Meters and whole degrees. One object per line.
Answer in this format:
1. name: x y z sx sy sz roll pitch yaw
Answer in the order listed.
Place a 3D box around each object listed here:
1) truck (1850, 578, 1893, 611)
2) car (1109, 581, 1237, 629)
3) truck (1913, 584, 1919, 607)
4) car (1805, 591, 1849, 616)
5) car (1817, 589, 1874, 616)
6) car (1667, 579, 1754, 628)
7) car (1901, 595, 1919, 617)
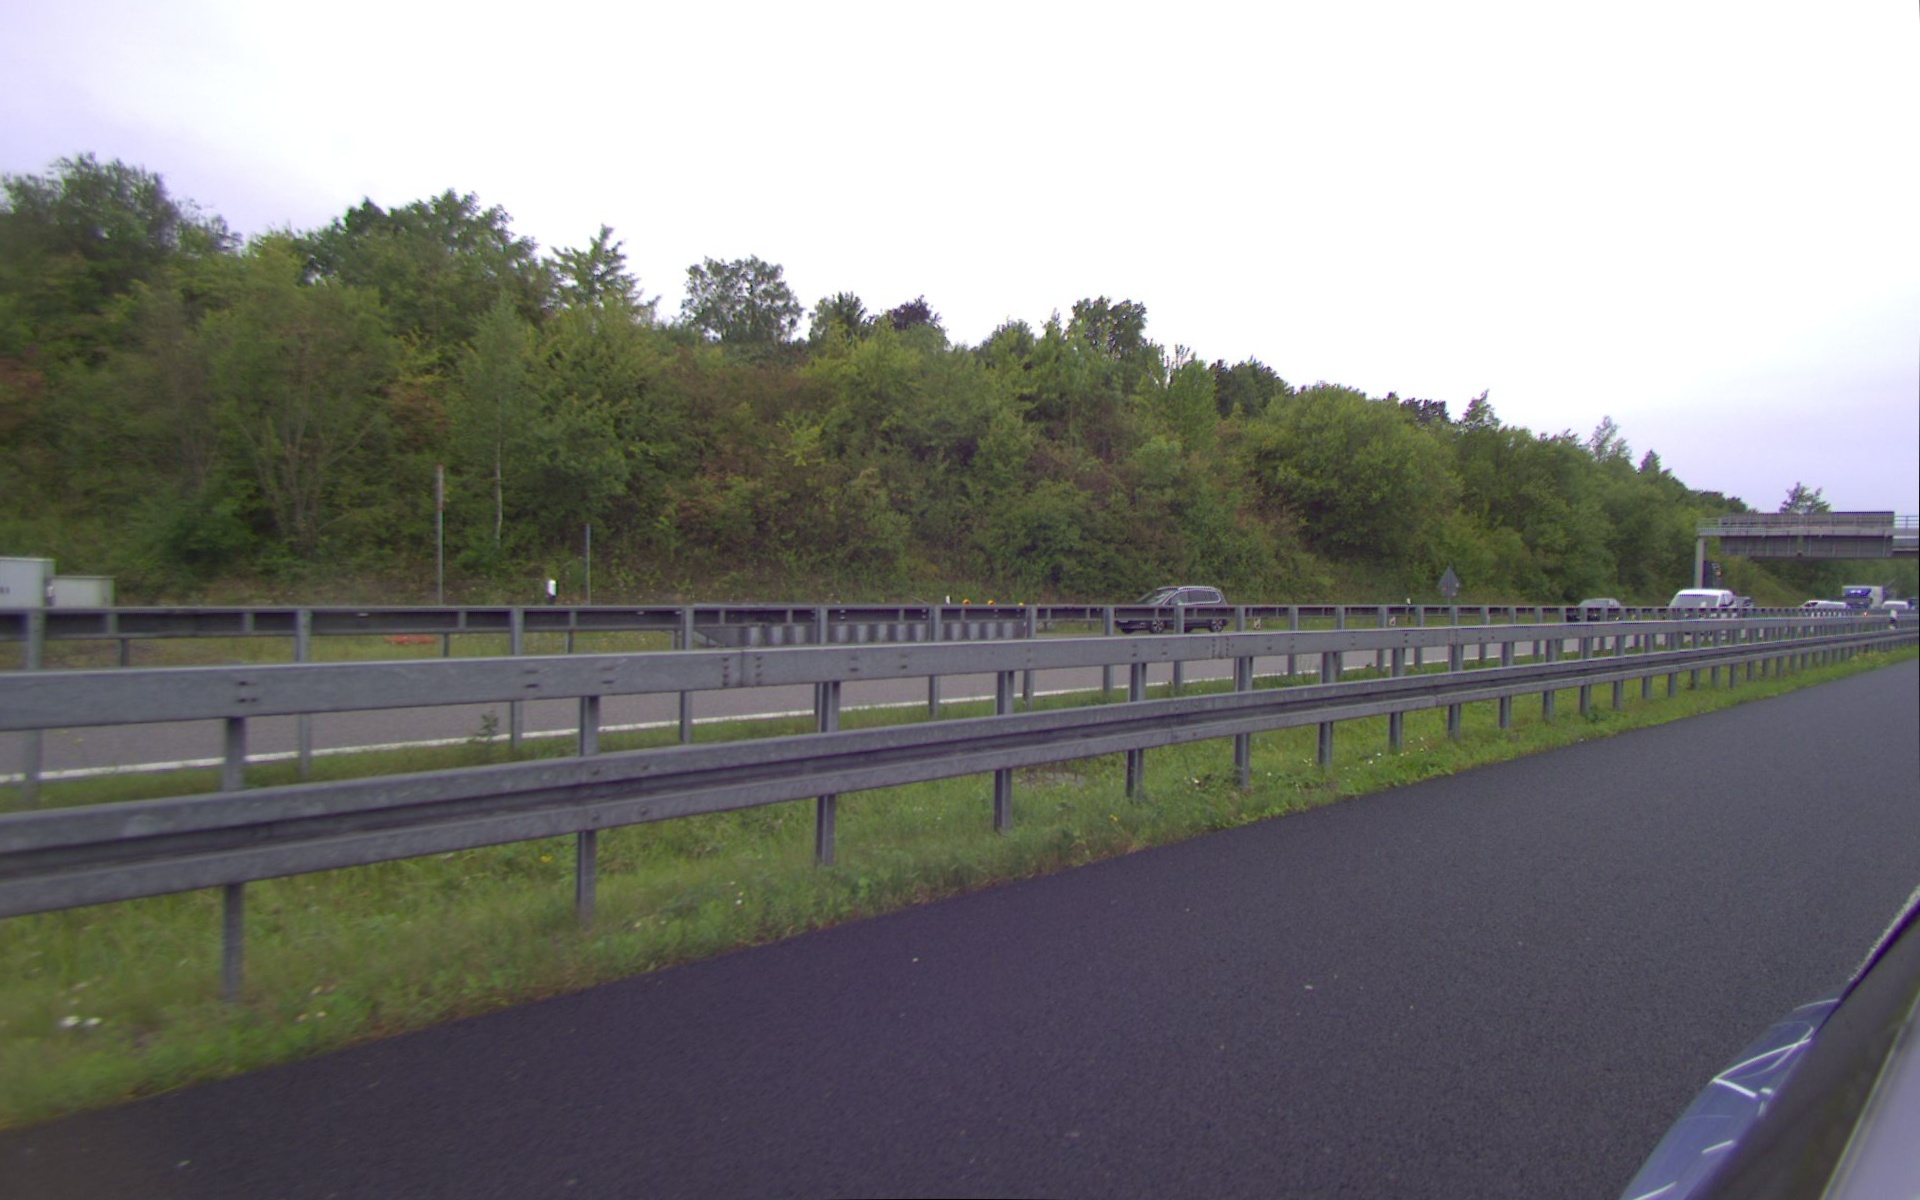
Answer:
1. truck: 100.886 -0.665 111.941 9.129 3.460 2.904 0 1 -44
2. car: 7.543 0.168 35.756 4.153 1.602 1.869 0 1 -27
3. truck: 152.041 -0.719 158.706 13.128 3.460 2.905 0 1 -43
4. car: 67.379 0.243 78.632 4.201 1.837 2.012 0 1 -41
5. car: 53.443 0.138 61.047 4.614 1.567 2.011 0 1 -41
6. car: 29.879 0.095 40.231 4.567 1.827 1.863 0 1 -41
7. car: 81.208 0.480 85.519 4.201 1.837 2.012 0 1 -41
